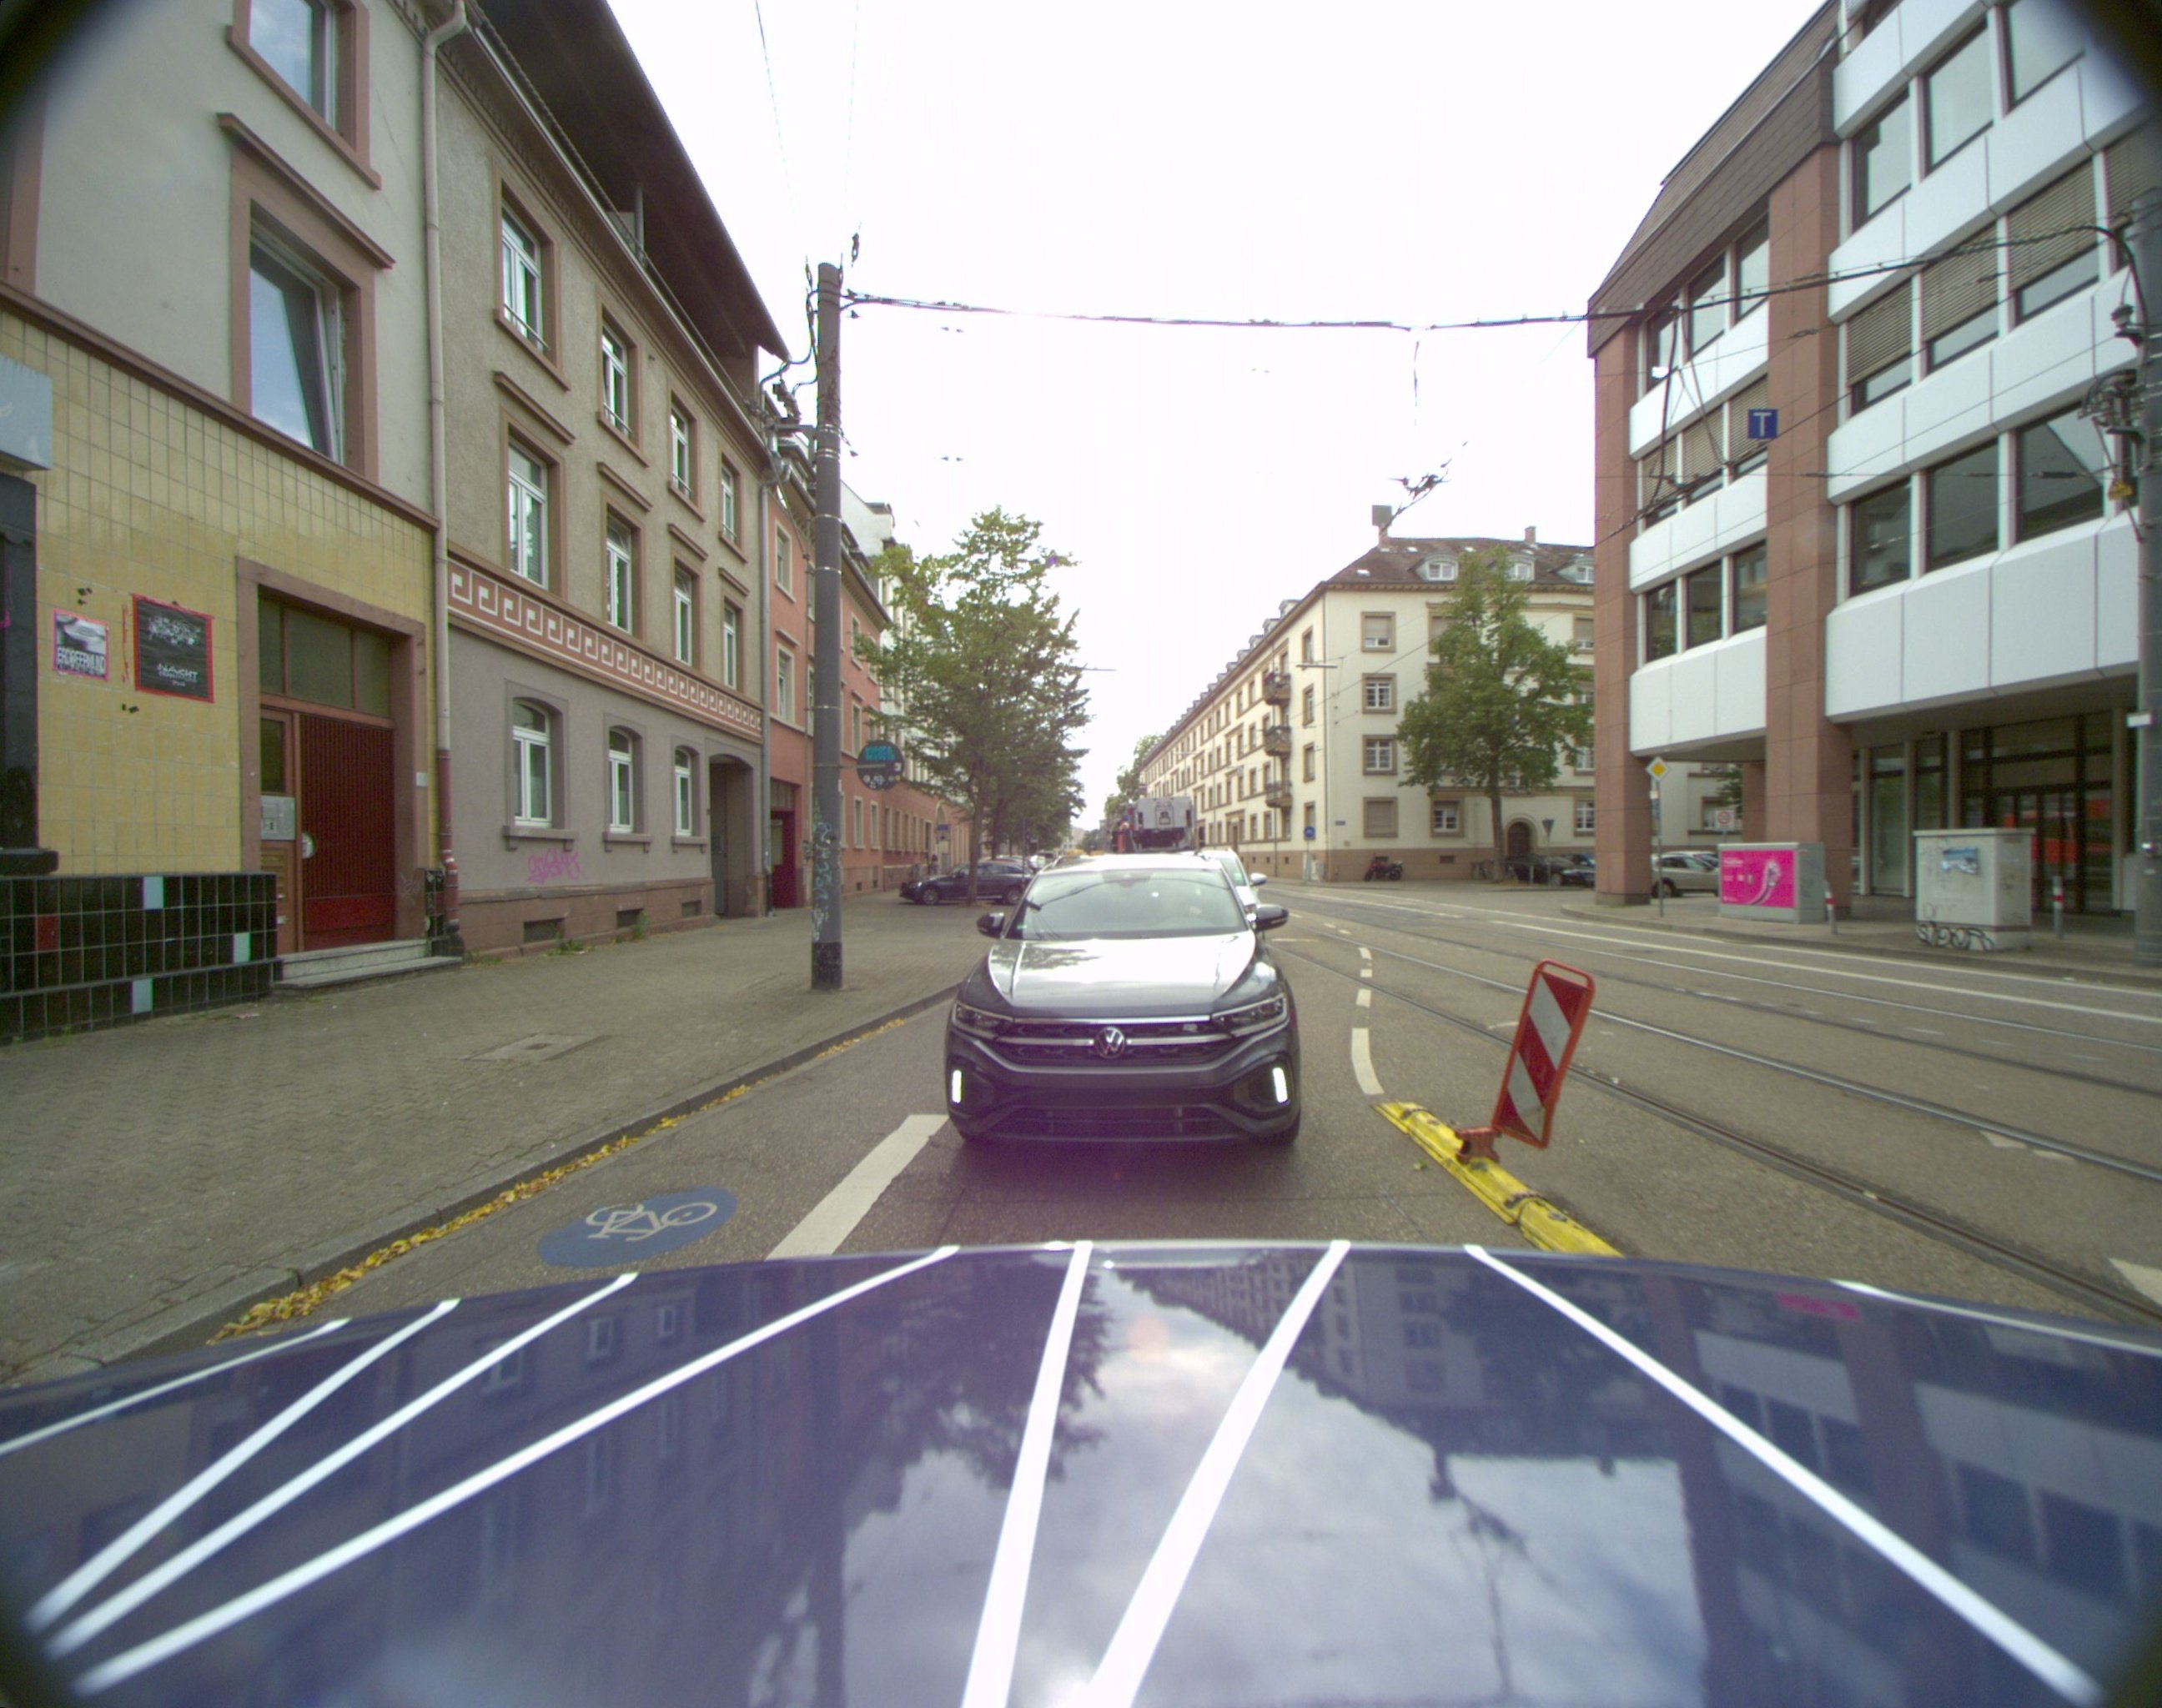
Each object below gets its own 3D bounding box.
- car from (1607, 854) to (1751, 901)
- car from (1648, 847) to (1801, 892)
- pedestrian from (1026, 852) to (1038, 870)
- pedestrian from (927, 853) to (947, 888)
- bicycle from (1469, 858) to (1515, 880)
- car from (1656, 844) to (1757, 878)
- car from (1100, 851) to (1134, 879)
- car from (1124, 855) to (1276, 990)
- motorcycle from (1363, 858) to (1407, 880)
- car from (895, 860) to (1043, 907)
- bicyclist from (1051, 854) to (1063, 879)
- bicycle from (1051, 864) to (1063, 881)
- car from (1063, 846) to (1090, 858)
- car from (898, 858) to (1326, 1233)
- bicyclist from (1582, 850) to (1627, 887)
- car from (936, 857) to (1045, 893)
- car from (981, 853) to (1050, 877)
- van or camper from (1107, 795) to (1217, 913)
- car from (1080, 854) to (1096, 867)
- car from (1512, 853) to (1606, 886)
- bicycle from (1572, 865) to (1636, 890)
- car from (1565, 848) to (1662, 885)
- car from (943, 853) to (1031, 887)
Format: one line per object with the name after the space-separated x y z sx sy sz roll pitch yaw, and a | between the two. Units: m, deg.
19.188 0.725 24.457 3.650 1.380 1.611 -1 0 -9 | car
24.135 0.577 28.646 4.043 1.528 1.776 -2 0 9 | car
-4.998 0.694 77.656 1.002 1.831 1.017 -1 1 -21 | pedestrian
-7.268 0.824 38.402 0.732 1.678 0.926 3 0 -1 | pedestrian
20.806 0.747 38.489 1.924 1.080 0.793 -1 0 -1 | bicycle
28.492 0.301 34.742 1.592 1.453 3.524 -1 0 -3 | car
2.211 0.677 48.195 1.998 1.698 4.053 -1 0 1 | car
1.604 0.839 11.342 1.773 1.582 4.283 -2 0 5 | car
15.300 0.768 38.271 1.924 1.080 0.793 -1 0 -1 | motorcycle
-3.782 0.959 25.706 4.635 1.464 1.786 1 0 -24 | car
-1.513 0.777 48.049 0.715 1.498 0.918 -2 0 -1 | bicyclist
-1.503 1.138 48.081 0.714 1.012 1.800 -2 0 -1 | bicycle
-0.871 -0.269 139.641 2.553 2.142 5.915 -1 0 -28 | car
0.286 0.848 5.377 1.773 1.538 4.283 -2 0 5 | car
20.646 0.577 29.982 1.258 1.453 0.678 -1 0 6 | bicyclist
-3.895 0.896 32.779 4.351 1.471 1.786 1 0 -24 | car
-4.744 0.835 55.336 4.635 1.688 1.913 1 0 -24 | car
2.499 0.000 26.792 2.607 3.401 9.651 -1 0 -1 | van or camper
0.834 0.787 89.912 1.911 1.478 4.000 -1 0 1 | car
21.166 0.659 33.832 1.611 1.388 3.874 -1 0 -3 | car
20.624 0.937 29.987 2.010 0.959 0.673 -1 -1 6 | bicycle
23.566 0.524 33.796 1.611 1.538 3.715 -1 0 -3 | car
-4.939 0.838 39.915 4.245 1.688 1.736 1 0 -24 | car
